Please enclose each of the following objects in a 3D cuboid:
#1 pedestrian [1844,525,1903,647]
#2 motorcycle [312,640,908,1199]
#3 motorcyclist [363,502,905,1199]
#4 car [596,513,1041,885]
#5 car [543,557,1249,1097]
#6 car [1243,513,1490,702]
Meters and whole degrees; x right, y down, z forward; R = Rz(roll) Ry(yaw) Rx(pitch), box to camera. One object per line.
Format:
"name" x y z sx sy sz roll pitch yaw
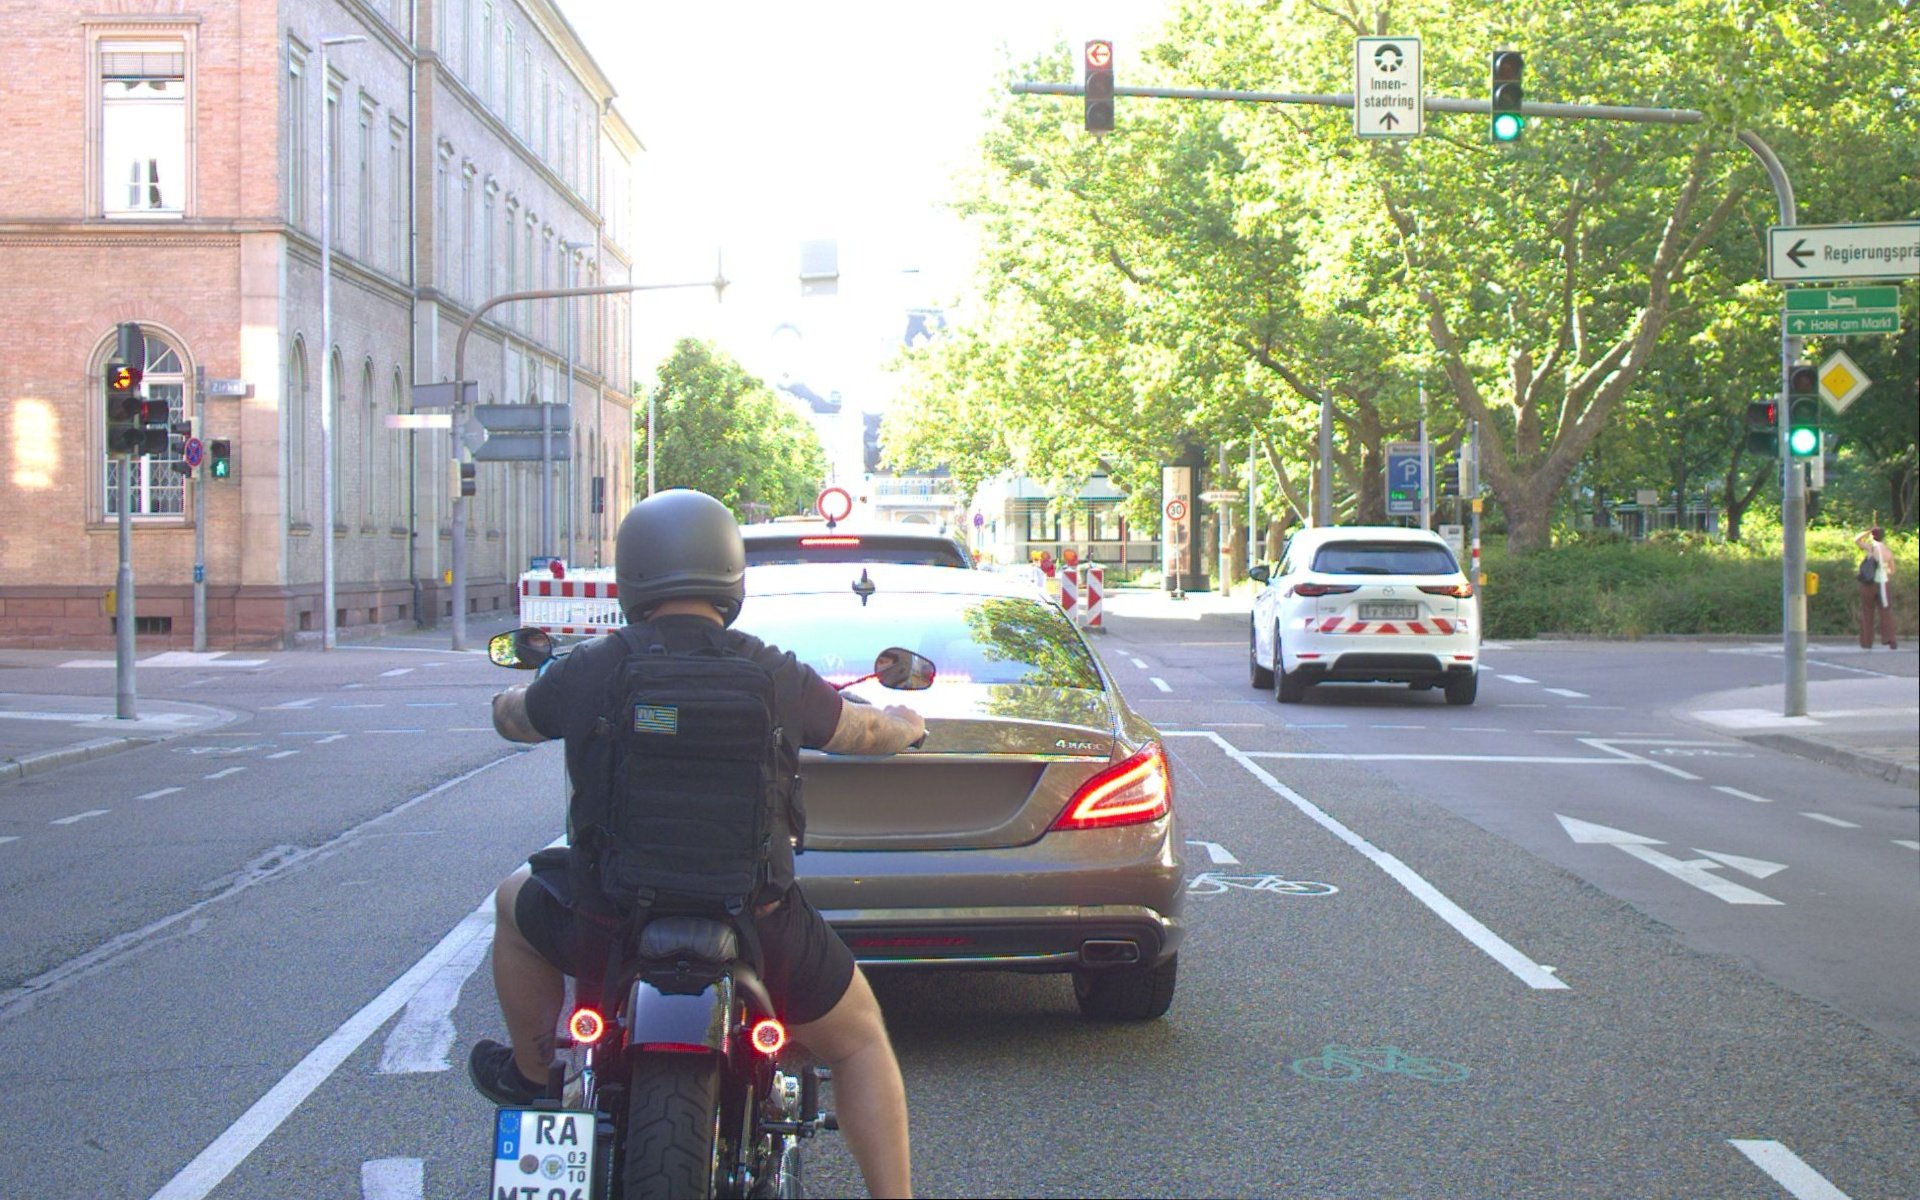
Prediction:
"pedestrian" 13.311 -0.208 50.101 0.678 1.766 0.616 1 0 29
"motorcycle" -0.601 0.751 6.934 0.980 1.271 2.407 0 1 -1
"motorcyclist" -0.605 0.596 6.902 0.980 1.573 1.248 0 1 -1
"car" -0.662 0.428 17.558 1.993 1.660 4.000 1 1 -1
"car" -0.428 0.586 11.636 1.869 1.439 4.431 0 1 -8
"car" 3.942 0.023 34.040 1.943 1.702 4.483 1 1 1
